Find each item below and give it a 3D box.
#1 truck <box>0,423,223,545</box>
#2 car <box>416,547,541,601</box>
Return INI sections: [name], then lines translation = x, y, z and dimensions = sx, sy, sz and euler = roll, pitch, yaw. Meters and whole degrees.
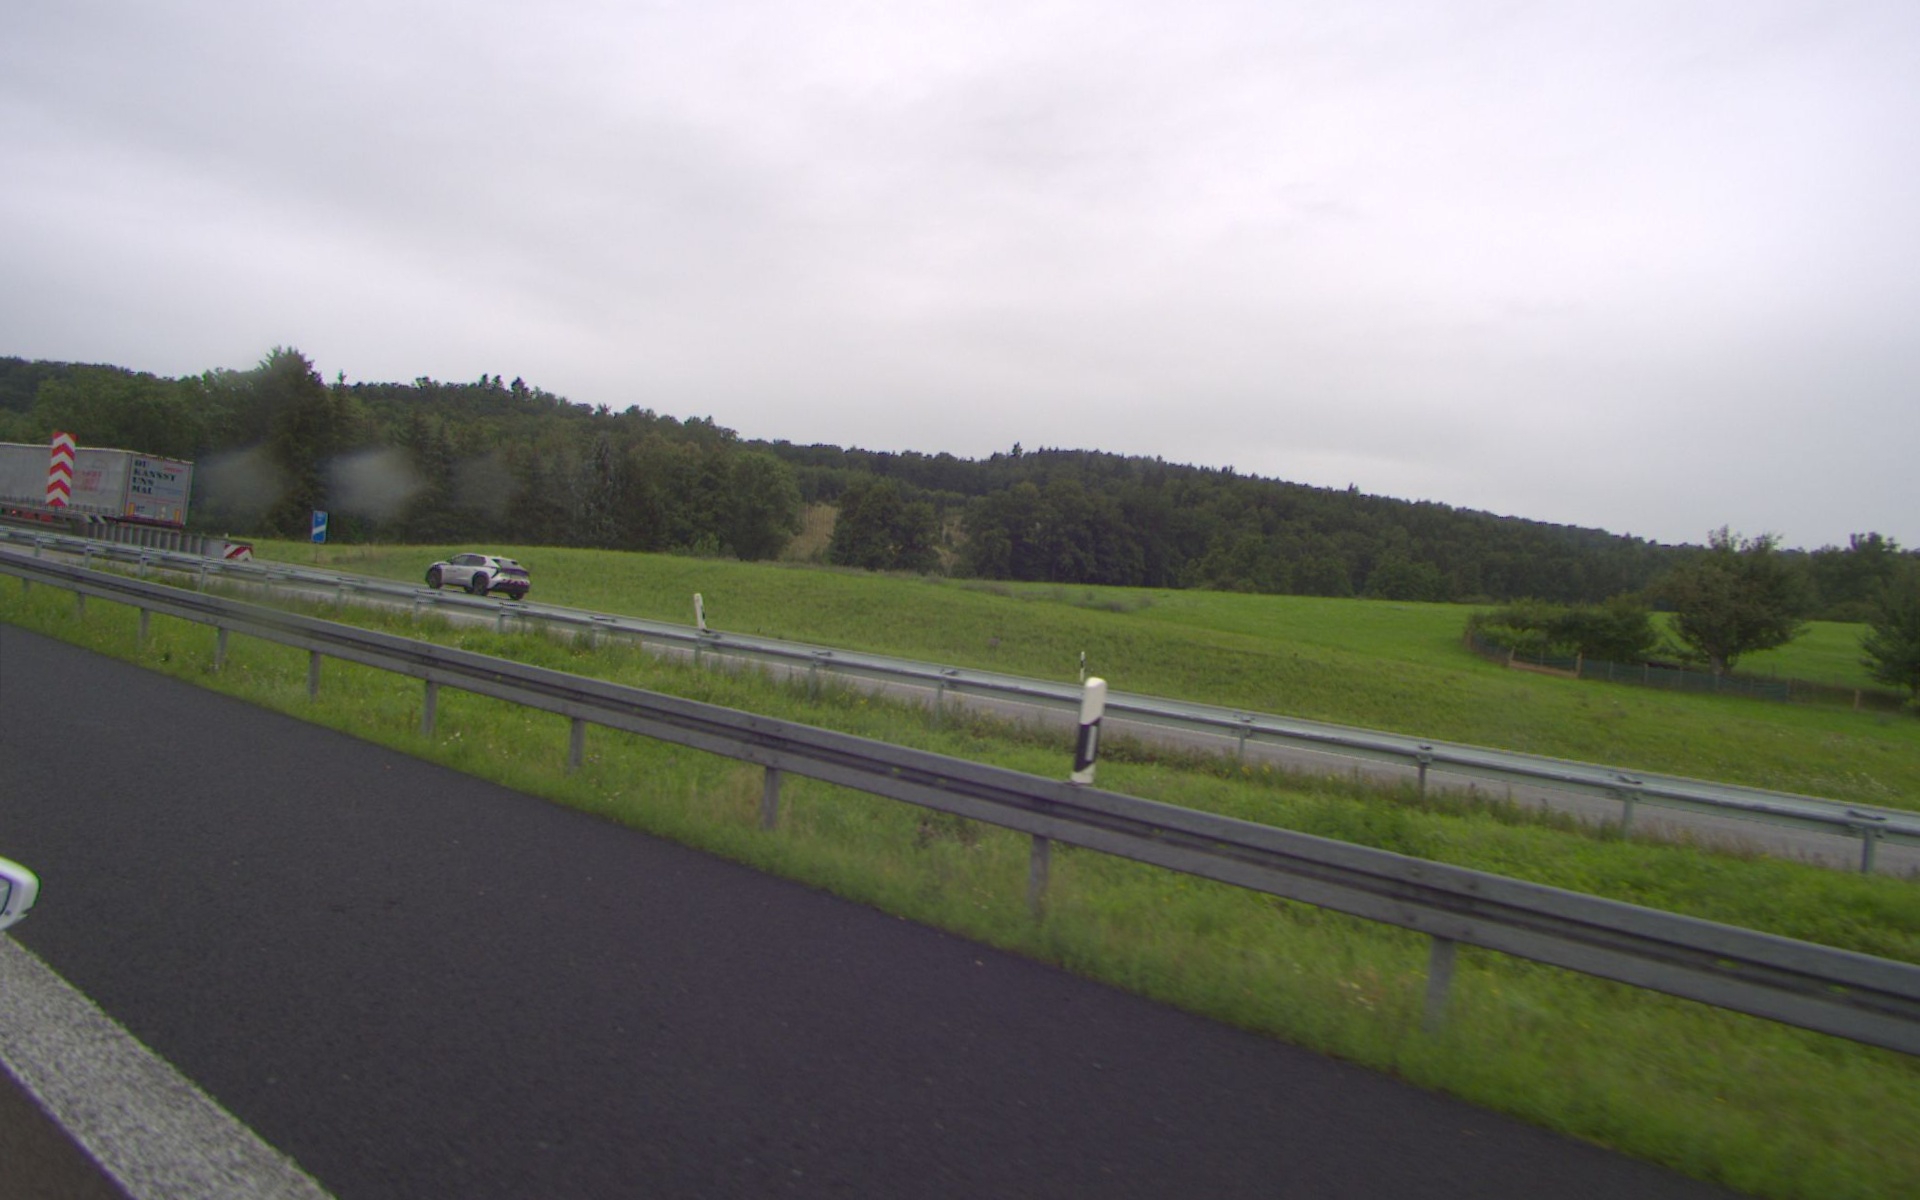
[truck]
translation = -42.907, -5.833, 49.198
dimensions = 16.590, 4.595, 3.830
euler = 6, -1, 28
[car]
translation = -19.234, -1.041, 40.139
dimensions = 4.945, 1.522, 1.823
euler = 7, -1, 29
